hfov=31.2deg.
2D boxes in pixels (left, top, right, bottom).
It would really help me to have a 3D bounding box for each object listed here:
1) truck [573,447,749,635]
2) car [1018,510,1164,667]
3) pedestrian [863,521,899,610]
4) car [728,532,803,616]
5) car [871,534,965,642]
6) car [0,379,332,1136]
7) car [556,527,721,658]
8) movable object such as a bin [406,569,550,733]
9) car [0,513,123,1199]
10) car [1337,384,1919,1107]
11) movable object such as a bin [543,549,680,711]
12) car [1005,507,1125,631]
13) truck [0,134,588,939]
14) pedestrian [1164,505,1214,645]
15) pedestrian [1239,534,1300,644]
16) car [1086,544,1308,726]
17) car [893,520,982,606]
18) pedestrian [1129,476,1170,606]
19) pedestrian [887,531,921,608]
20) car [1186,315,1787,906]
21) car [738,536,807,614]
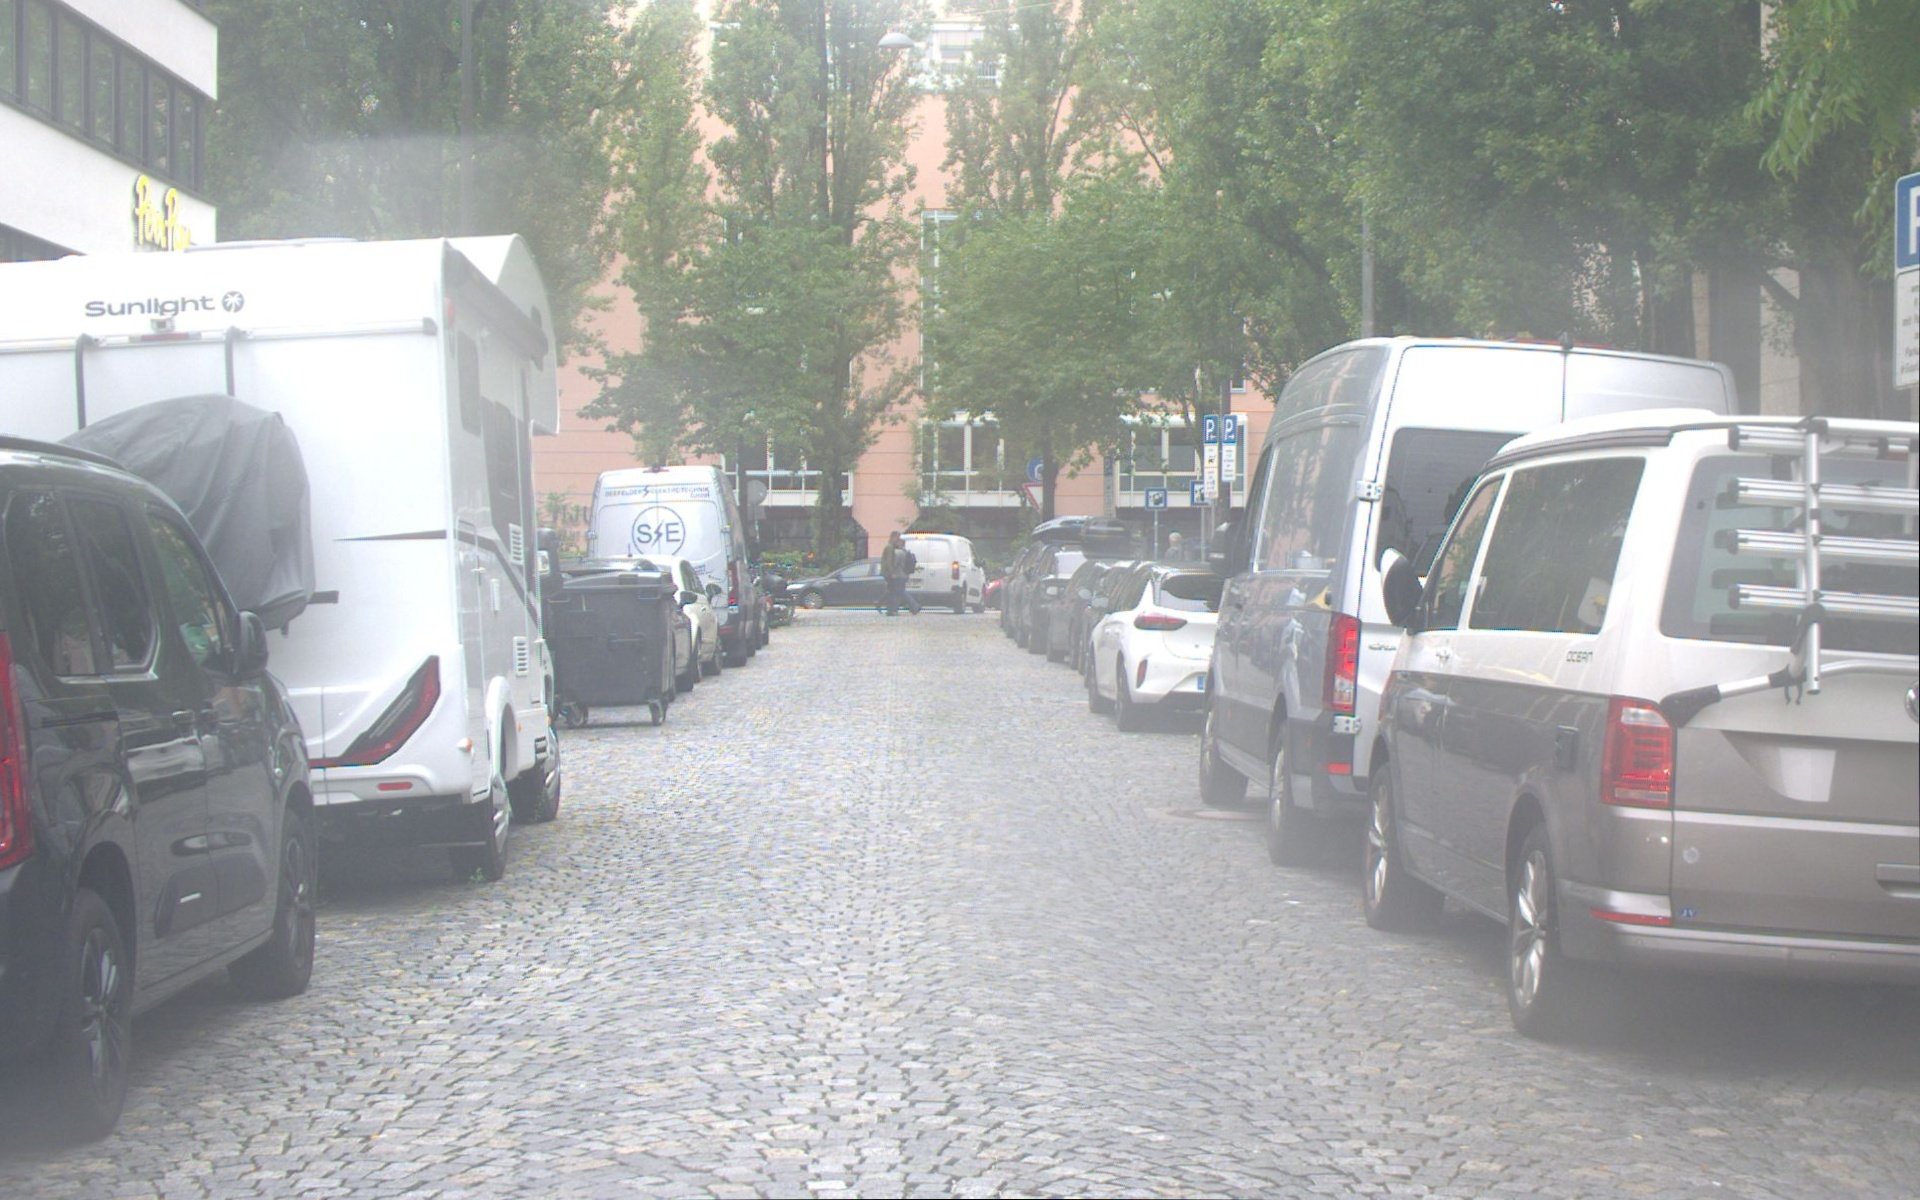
[{"bbox_3d":[-3.895,-0.759,45.351,1.993,2.338,4.068,1,0,-1],"label":"truck"},{"bbox_3d":[1.460,-0.137,39.172,1.470,1.700,3.119,1,0,-1],"label":"car"},{"bbox_3d":[-1.712,-0.751,74.389,0.725,1.904,0.641,1,0,1],"label":"pedestrian"},{"bbox_3d":[-3.716,-0.498,65.906,1.290,1.534,3.119,1,0,-1],"label":"car"},{"bbox_3d":[-0.696,-0.209,56.398,1.470,1.700,3.119,1,0,-1],"label":"car"},{"bbox_3d":[-3.068,0.330,9.967,1.894,1.745,4.168,0,1,-3],"label":"car"},{"bbox_3d":[-3.779,-0.100,40.838,1.662,1.450,3.548,1,0,-1],"label":"car"},{"bbox_3d":[-4.114,0.423,29.423,1.073,1.359,1.273,1,0,-2],"label":"movable object such as a bin"},{"bbox_3d":[-2.658,0.562,5.108,1.940,1.454,4.058,1,0,-2],"label":"car"},{"bbox_3d":[2.595,0.407,11.917,1.800,1.943,4.861,3,0,-2],"label":"car"},{"bbox_3d":[-3.026,0.251,30.000,1.064,1.359,1.289,1,0,-1],"label":"movable object such as a bin"},{"bbox_3d":[1.695,-0.506,56.590,1.868,1.954,4.000,1,0,0],"label":"car"},{"bbox_3d":[-3.285,-0.302,16.248,2.508,3.021,6.385,-1,1,-2],"label":"truck"},{"bbox_3d":[3.621,-0.389,54.365,0.711,2.184,0.813,1,0,1],"label":"pedestrian"},{"bbox_3d":[4.887,-0.175,54.297,0.791,1.714,0.856,1,0,-6],"label":"pedestrian"},{"bbox_3d":[2.035,0.278,30.323,1.599,1.481,3.479,1,0,-1],"label":"car"},{"bbox_3d":[-0.491,-0.848,79.845,1.996,1.929,4.000,1,0,0],"label":"car"},{"bbox_3d":[3.553,-1.110,64.464,0.711,2.417,0.813,0,1,1],"label":"pedestrian"},{"bbox_3d":[-1.224,-0.663,75.437,0.687,1.681,0.500,1,0,1],"label":"pedestrian"},{"bbox_3d":[2.462,-0.017,17.663,1.895,2.418,5.612,4,1,-2],"label":"car"},{"bbox_3d":[-3.844,-0.518,70.798,1.276,1.536,3.119,1,0,-1],"label":"car"}]
